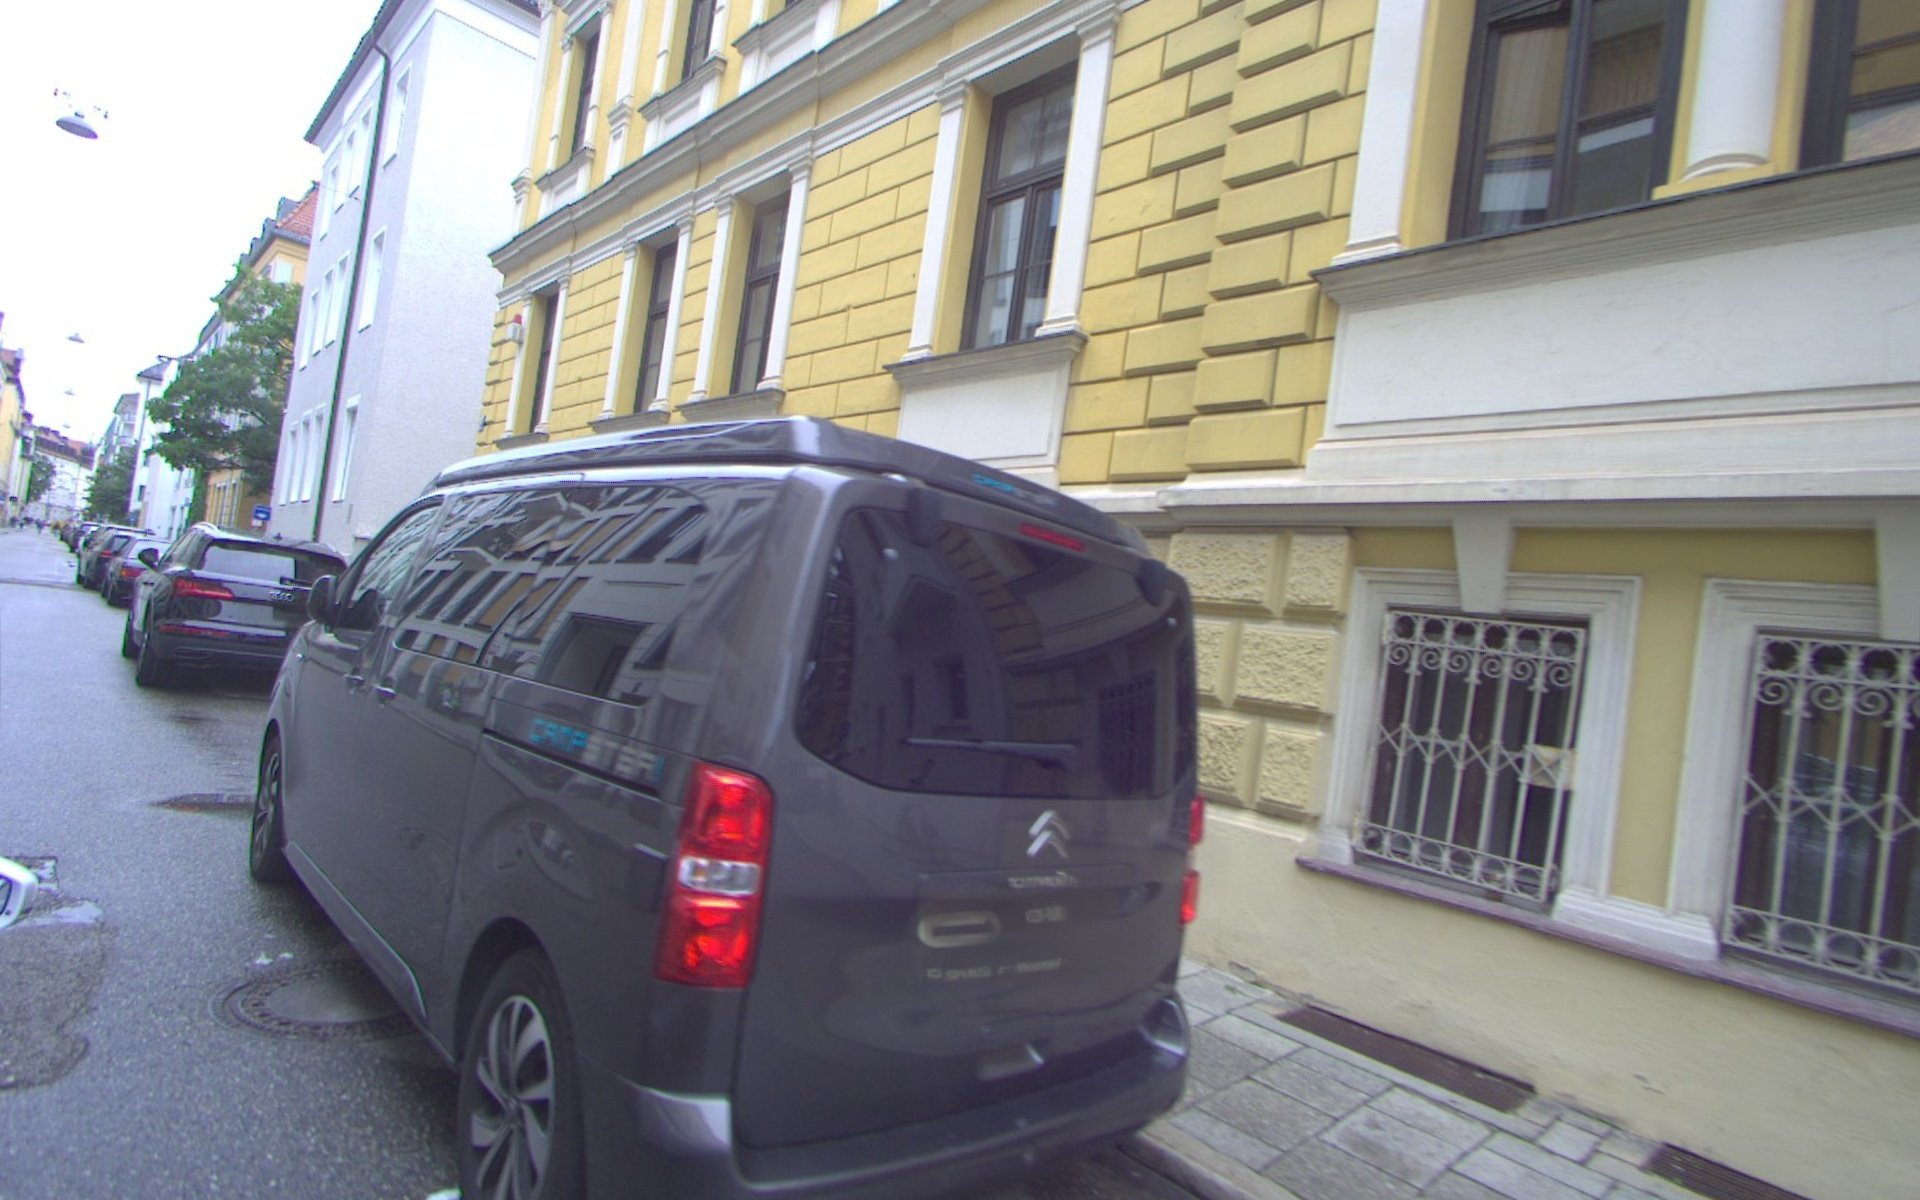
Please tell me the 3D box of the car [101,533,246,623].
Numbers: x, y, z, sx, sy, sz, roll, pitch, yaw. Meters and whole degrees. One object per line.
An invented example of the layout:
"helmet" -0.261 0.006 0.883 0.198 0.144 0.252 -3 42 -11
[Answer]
"car" -16.175 -0.484 20.619 1.890 1.391 3.750 11 -4 -43

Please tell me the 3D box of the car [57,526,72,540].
"car" -128.732 -9.591 144.581 1.362 1.675 3.423 10 -3 -44

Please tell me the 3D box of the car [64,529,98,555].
"car" -67.744 -4.476 77.498 1.698 1.641 3.728 11 -4 -43

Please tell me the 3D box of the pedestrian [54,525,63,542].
"pedestrian" -97.374 -7.188 108.625 0.537 1.672 0.372 9 -2 -42

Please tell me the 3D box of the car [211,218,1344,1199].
"car" -1.257 0.380 3.978 1.991 1.951 4.604 13 -5 -43

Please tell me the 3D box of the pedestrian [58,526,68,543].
"pedestrian" -94.941 -6.905 106.472 0.537 1.672 0.372 9 -2 -42

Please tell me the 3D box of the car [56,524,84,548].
"car" -84.493 -6.103 95.477 1.698 1.937 3.728 11 -4 -43

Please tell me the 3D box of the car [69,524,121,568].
"car" -44.841 -2.795 52.117 1.698 1.921 3.728 11 -4 -43

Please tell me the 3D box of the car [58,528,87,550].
"car" -80.648 -5.579 91.383 1.753 1.648 3.550 10 -3 -42

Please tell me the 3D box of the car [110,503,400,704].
"car" -7.979 -0.024 11.206 1.890 1.659 4.270 11 -4 -43

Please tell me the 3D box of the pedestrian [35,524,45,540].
"pedestrian" -97.704 -7.207 106.836 0.537 1.672 0.372 9 -2 -42

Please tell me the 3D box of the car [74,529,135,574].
"car" -37.980 -2.160 44.635 1.698 1.641 3.728 11 -4 -43

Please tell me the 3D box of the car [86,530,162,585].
"car" -29.714 -1.526 35.713 1.698 1.562 3.728 11 -4 -43

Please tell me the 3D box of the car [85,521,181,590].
"car" -23.301 -1.272 28.303 1.698 1.562 3.728 11 -4 -43

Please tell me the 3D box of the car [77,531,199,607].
"car" -19.882 -0.777 24.286 1.890 1.391 3.892 11 -4 -43
